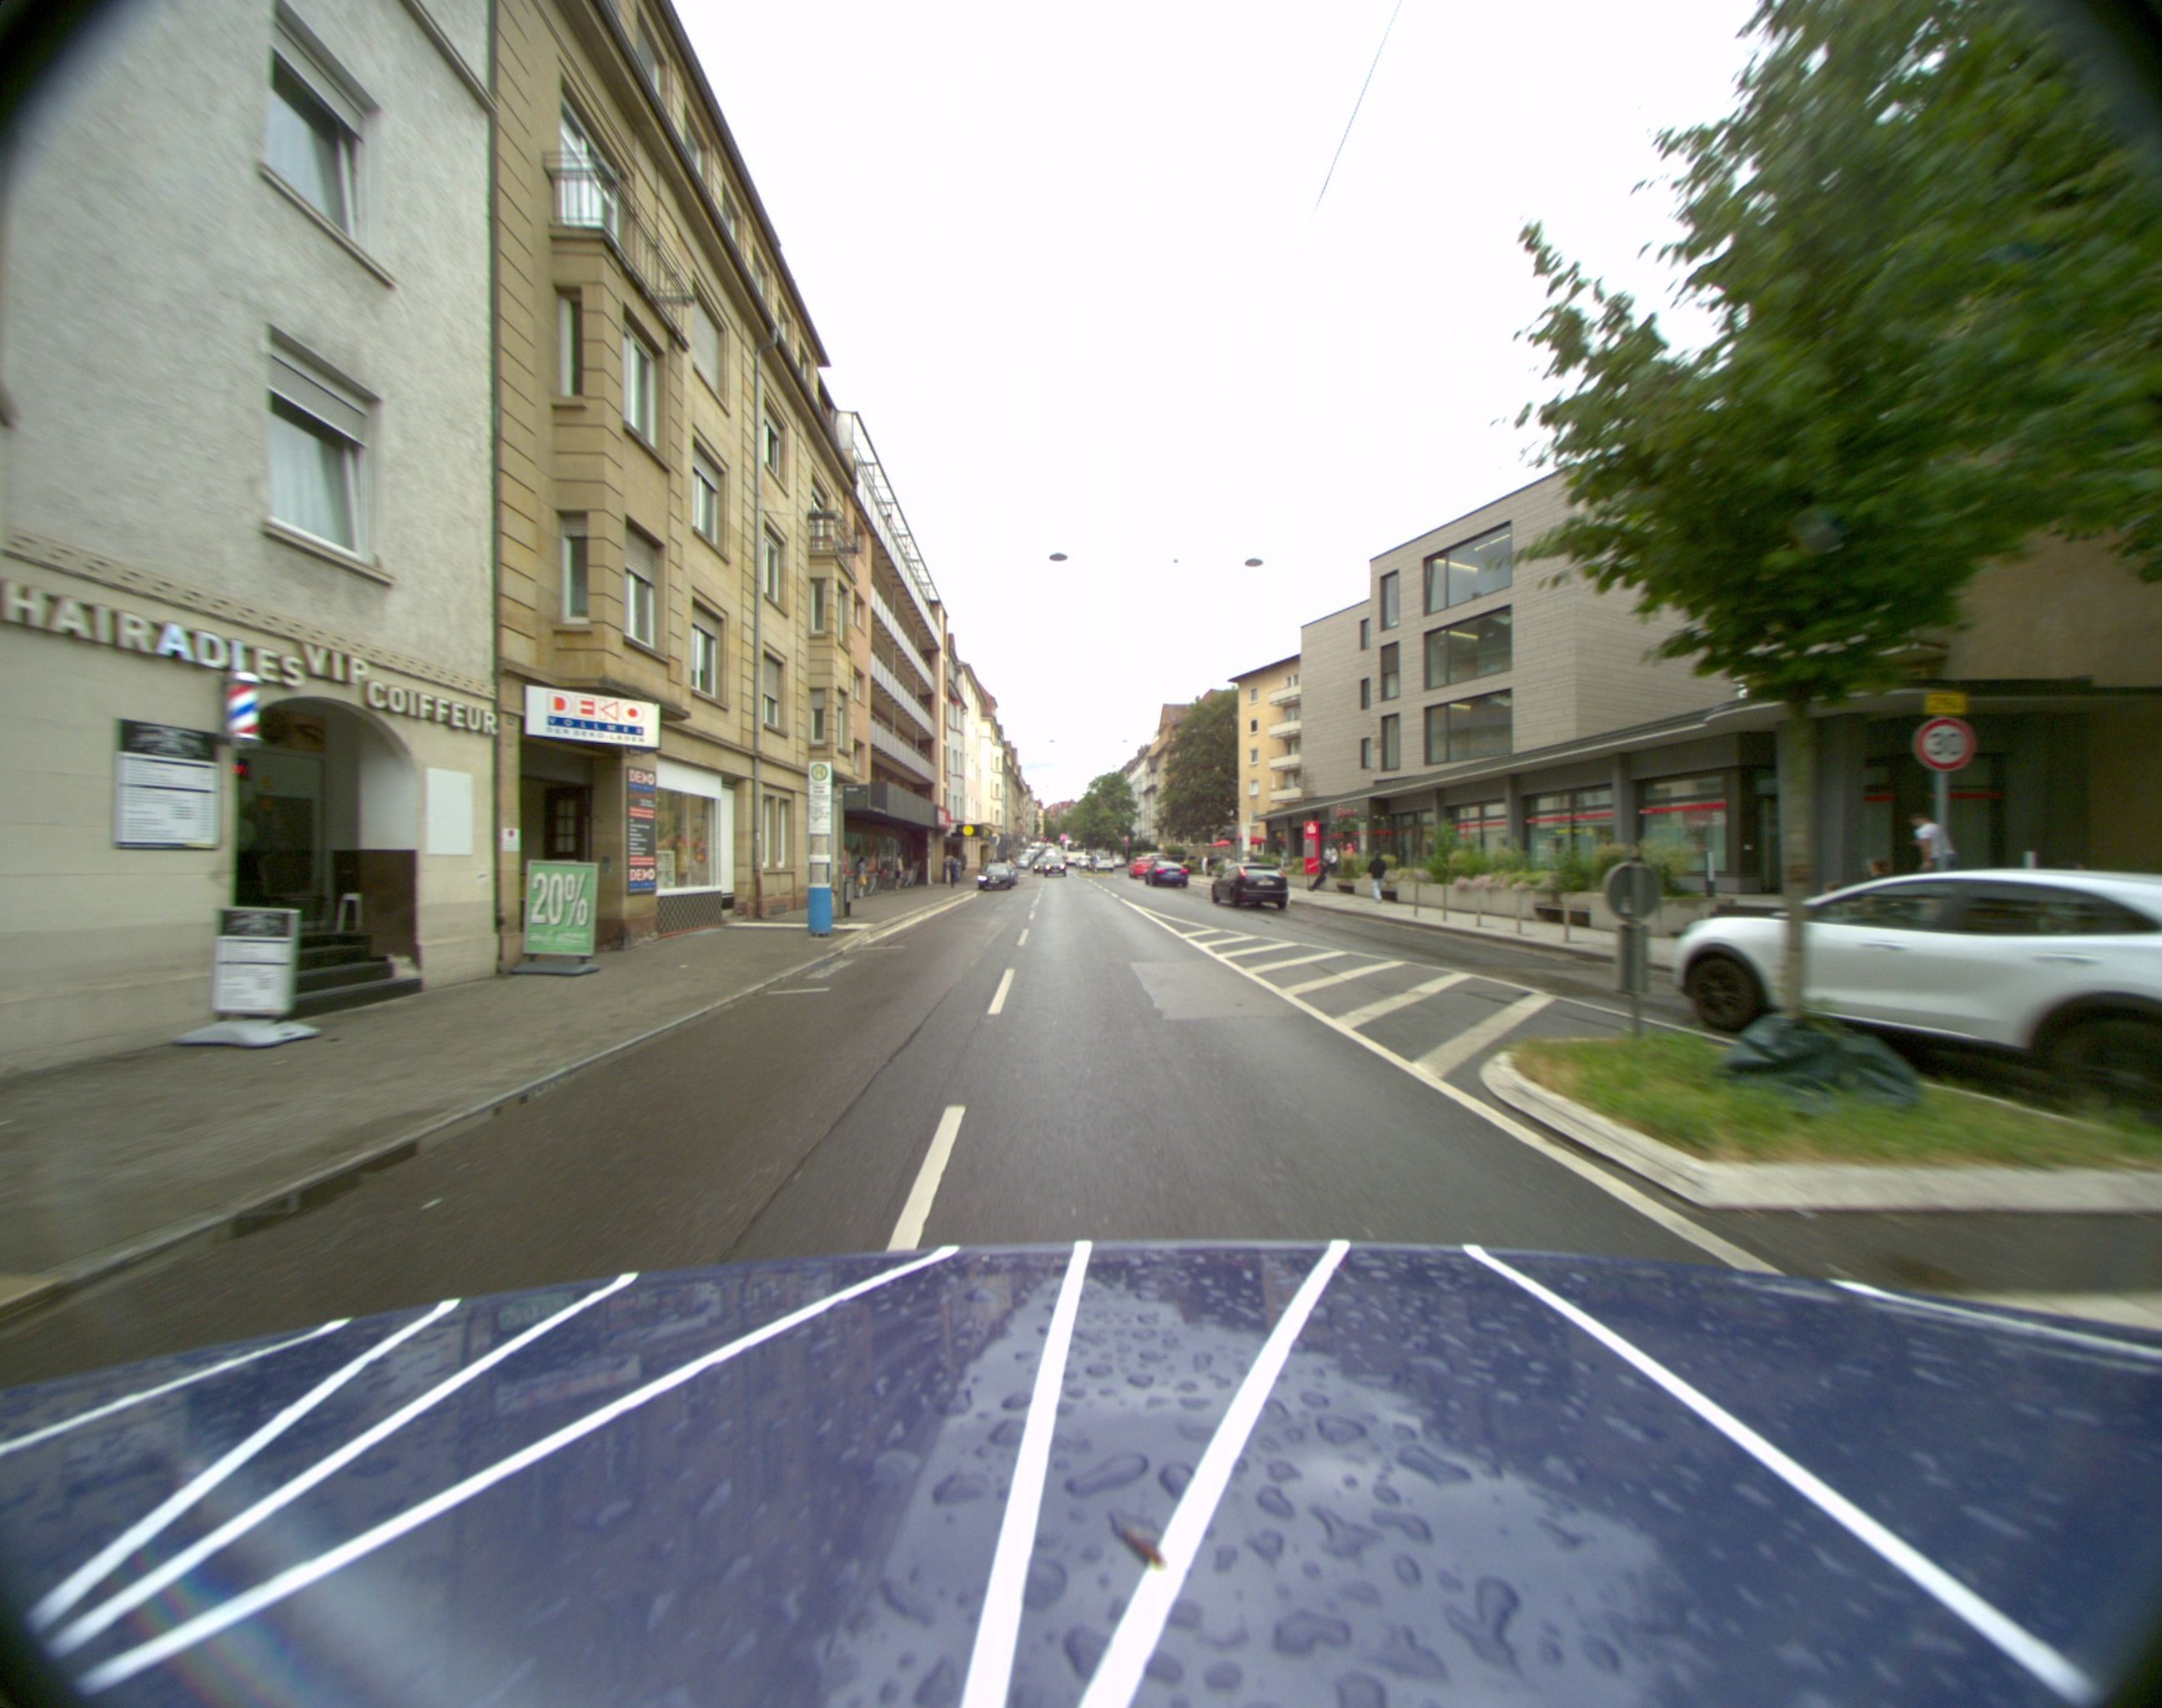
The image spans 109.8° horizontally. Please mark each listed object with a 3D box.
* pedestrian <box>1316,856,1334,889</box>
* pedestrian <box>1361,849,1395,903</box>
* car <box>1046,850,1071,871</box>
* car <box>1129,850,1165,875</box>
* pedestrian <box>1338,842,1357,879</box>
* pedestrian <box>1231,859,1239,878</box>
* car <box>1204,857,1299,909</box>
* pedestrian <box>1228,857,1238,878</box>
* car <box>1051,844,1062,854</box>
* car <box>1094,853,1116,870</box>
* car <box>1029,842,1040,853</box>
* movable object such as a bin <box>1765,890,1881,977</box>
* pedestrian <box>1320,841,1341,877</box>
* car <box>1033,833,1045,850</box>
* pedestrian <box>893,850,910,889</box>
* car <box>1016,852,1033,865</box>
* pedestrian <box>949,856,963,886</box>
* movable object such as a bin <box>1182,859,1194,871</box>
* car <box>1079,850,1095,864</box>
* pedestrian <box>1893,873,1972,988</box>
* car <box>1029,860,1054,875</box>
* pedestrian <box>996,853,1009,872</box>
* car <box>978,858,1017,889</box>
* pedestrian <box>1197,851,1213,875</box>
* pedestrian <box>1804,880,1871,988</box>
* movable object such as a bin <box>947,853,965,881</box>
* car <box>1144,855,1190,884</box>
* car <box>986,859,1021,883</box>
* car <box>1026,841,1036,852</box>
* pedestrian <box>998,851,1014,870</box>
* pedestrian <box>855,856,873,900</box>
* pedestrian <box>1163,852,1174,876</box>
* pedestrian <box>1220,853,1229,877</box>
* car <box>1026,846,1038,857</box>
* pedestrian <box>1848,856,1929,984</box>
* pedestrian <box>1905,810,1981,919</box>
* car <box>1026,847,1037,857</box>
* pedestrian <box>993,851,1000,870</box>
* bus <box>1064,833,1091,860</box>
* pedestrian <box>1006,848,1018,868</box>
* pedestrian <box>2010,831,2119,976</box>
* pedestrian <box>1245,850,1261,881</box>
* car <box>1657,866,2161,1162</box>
[{"bbox_3d":[10.723,0.816,33.370,0.590,1.412,0.726,0,1,33],"label":"pedestrian"},{"bbox_3d":[10.146,0.736,25.982,0.724,1.815,0.720,-2,0,-21],"label":"pedestrian"},{"bbox_3d":[-1.917,0.542,63.582,1.857,1.646,4.203,-1,0,-5],"label":"car"},{"bbox_3d":[5.068,0.603,58.894,2.112,1.754,5.057,1,1,-2],"label":"car"},{"bbox_3d":[12.236,0.315,34.839,0.712,1.669,0.801,-1,1,26],"label":"pedestrian"},{"bbox_3d":[9.528,0.893,46.945,0.393,1.110,0.386,-1,1,-2],"label":"pedestrian"},{"bbox_3d":[5.613,0.903,25.542,1.960,1.548,4.242,1,0,-4],"label":"car"},{"bbox_3d":[9.479,0.859,47.446,0.469,1.270,0.549,-1,1,-2],"label":"pedestrian"},{"bbox_3d":[-4.340,-0.885,135.373,1.796,1.768,3.901,-1,1,-3],"label":"car"},{"bbox_3d":[2.344,0.714,76.501,1.900,1.564,4.123,1,1,-2],"label":"car"},{"bbox_3d":[-8.143,-1.115,133.480,1.720,1.871,3.906,-1,1,-3],"label":"car"},{"bbox_3d":[10.724,1.119,11.014,0.705,1.128,0.965,-2,1,-5],"label":"movable object such as a bin"},{"bbox_3d":[11.762,0.231,35.826,0.715,1.669,0.713,-1,1,-3],"label":"pedestrian"},{"bbox_3d":[-9.298,-2.758,168.944,2.555,3.613,9.046,-1,1,-3],"label":"car"},{"bbox_3d":[-8.834,0.755,37.374,0.597,1.848,0.727,-1,2,1],"label":"pedestrian"},{"bbox_3d":[-6.720,0.509,90.689,1.856,1.456,4.202,-2,1,-4],"label":"car"},{"bbox_3d":[-6.944,0.959,42.276,0.627,1.642,0.748,3,0,-2],"label":"pedestrian"},{"bbox_3d":[9.381,0.967,66.510,0.743,1.052,0.811,-2,2,-27],"label":"movable object such as a bin"},{"bbox_3d":[0.690,0.318,86.184,1.620,1.455,3.805,2,1,-2],"label":"car"},{"bbox_3d":[11.355,1.001,10.143,0.461,1.465,0.530,-1,1,-6],"label":"pedestrian"},{"bbox_3d":[-3.950,1.344,76.182,1.809,1.412,4.002,-1,0,7],"label":"car"},{"bbox_3d":[-6.612,0.728,64.257,0.701,1.637,0.784,2,1,32],"label":"pedestrian"},{"bbox_3d":[-4.552,1.032,41.770,1.734,1.538,3.980,-1,1,-1],"label":"car"},{"bbox_3d":[9.057,0.655,55.549,0.793,1.699,0.761,-3,1,-27],"label":"pedestrian"},{"bbox_3d":[10.267,1.069,10.323,0.434,1.402,0.481,-1,1,-6],"label":"pedestrian"},{"bbox_3d":[-8.051,0.836,49.055,1.002,1.783,1.295,0,1,-4],"label":"movable object such as a bin"},{"bbox_3d":[4.874,0.865,43.687,1.960,1.503,4.911,-1,0,-1],"label":"car"},{"bbox_3d":[-4.826,1.054,47.818,1.739,1.302,3.766,-3,1,0],"label":"car"},{"bbox_3d":[-8.338,-1.254,126.863,1.733,1.887,3.549,-2,1,-4],"label":"car"},{"bbox_3d":[-6.739,0.579,68.144,1.060,1.738,0.856,1,1,36],"label":"pedestrian"},{"bbox_3d":[-7.995,0.873,27.992,0.563,1.563,0.626,-1,1,-18],"label":"pedestrian"},{"bbox_3d":[7.373,0.814,63.836,0.703,2.002,0.782,-1,2,-6],"label":"pedestrian"},{"bbox_3d":[9.309,0.728,49.210,0.438,1.540,0.533,-1,1,-3],"label":"pedestrian"},{"bbox_3d":[-7.107,-0.366,110.233,1.733,1.486,3.549,-2,1,-4],"label":"car"},{"bbox_3d":[10.846,0.860,10.217,0.499,1.664,0.552,-1,1,-6],"label":"pedestrian"},{"bbox_3d":[14.857,0.172,13.100,0.724,1.815,0.720,-2,0,-30],"label":"pedestrian"},{"bbox_3d":[-7.564,-0.288,116.274,1.733,1.486,3.549,-2,1,-4],"label":"car"},{"bbox_3d":[-7.695,0.558,69.188,0.611,1.738,0.698,1,1,-2],"label":"pedestrian"},{"bbox_3d":[-0.553,-1.071,101.074,2.813,3.228,11.955,3,1,-3],"label":"bus"},{"bbox_3d":[-5.800,0.304,63.820,0.701,1.637,0.784,2,1,32],"label":"pedestrian"},{"bbox_3d":[12.499,0.597,9.668,0.658,1.749,0.719,-1,1,-25],"label":"pedestrian"},{"bbox_3d":[10.071,0.676,44.387,0.591,1.809,0.869,-1,1,-11],"label":"pedestrian"},{"bbox_3d":[6.755,0.947,5.505,1.825,1.560,4.087,3,0,-3],"label":"car"}]
